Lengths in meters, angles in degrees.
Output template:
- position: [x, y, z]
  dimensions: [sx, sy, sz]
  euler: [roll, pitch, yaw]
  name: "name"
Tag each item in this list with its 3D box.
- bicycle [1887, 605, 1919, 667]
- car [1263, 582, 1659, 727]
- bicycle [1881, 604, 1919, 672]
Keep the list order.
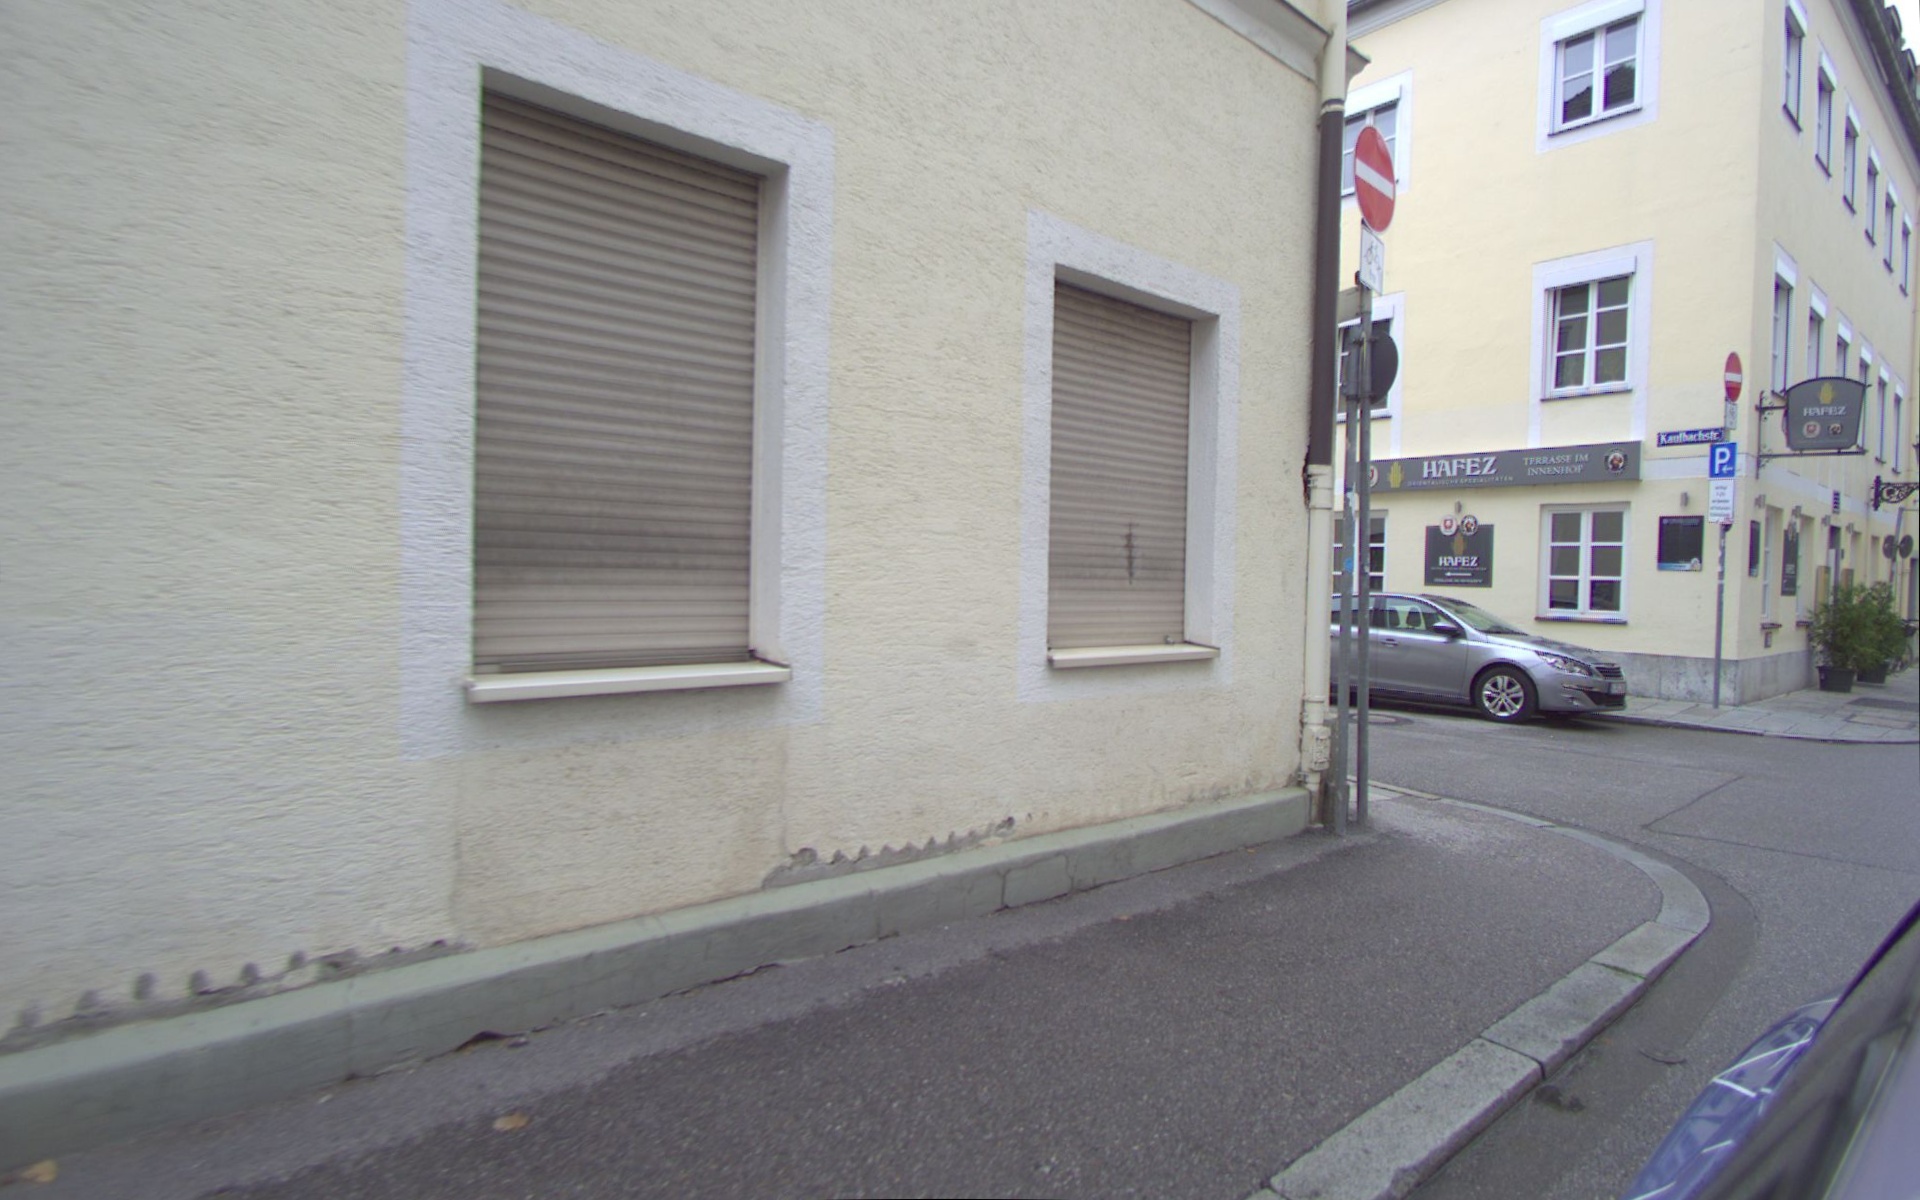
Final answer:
- position: [18.929, 0.689, 20.000]
  dimensions: [1.952, 1.150, 0.567]
  euler: [0, 3, -40]
  name: "bicycle"
- position: [6.013, 0.567, 12.548]
  dimensions: [1.732, 1.459, 4.026]
  euler: [3, -1, -38]
  name: "car"
- position: [17.373, 0.677, 18.462]
  dimensions: [1.654, 1.150, 0.567]
  euler: [0, 3, -40]
  name: "bicycle"
